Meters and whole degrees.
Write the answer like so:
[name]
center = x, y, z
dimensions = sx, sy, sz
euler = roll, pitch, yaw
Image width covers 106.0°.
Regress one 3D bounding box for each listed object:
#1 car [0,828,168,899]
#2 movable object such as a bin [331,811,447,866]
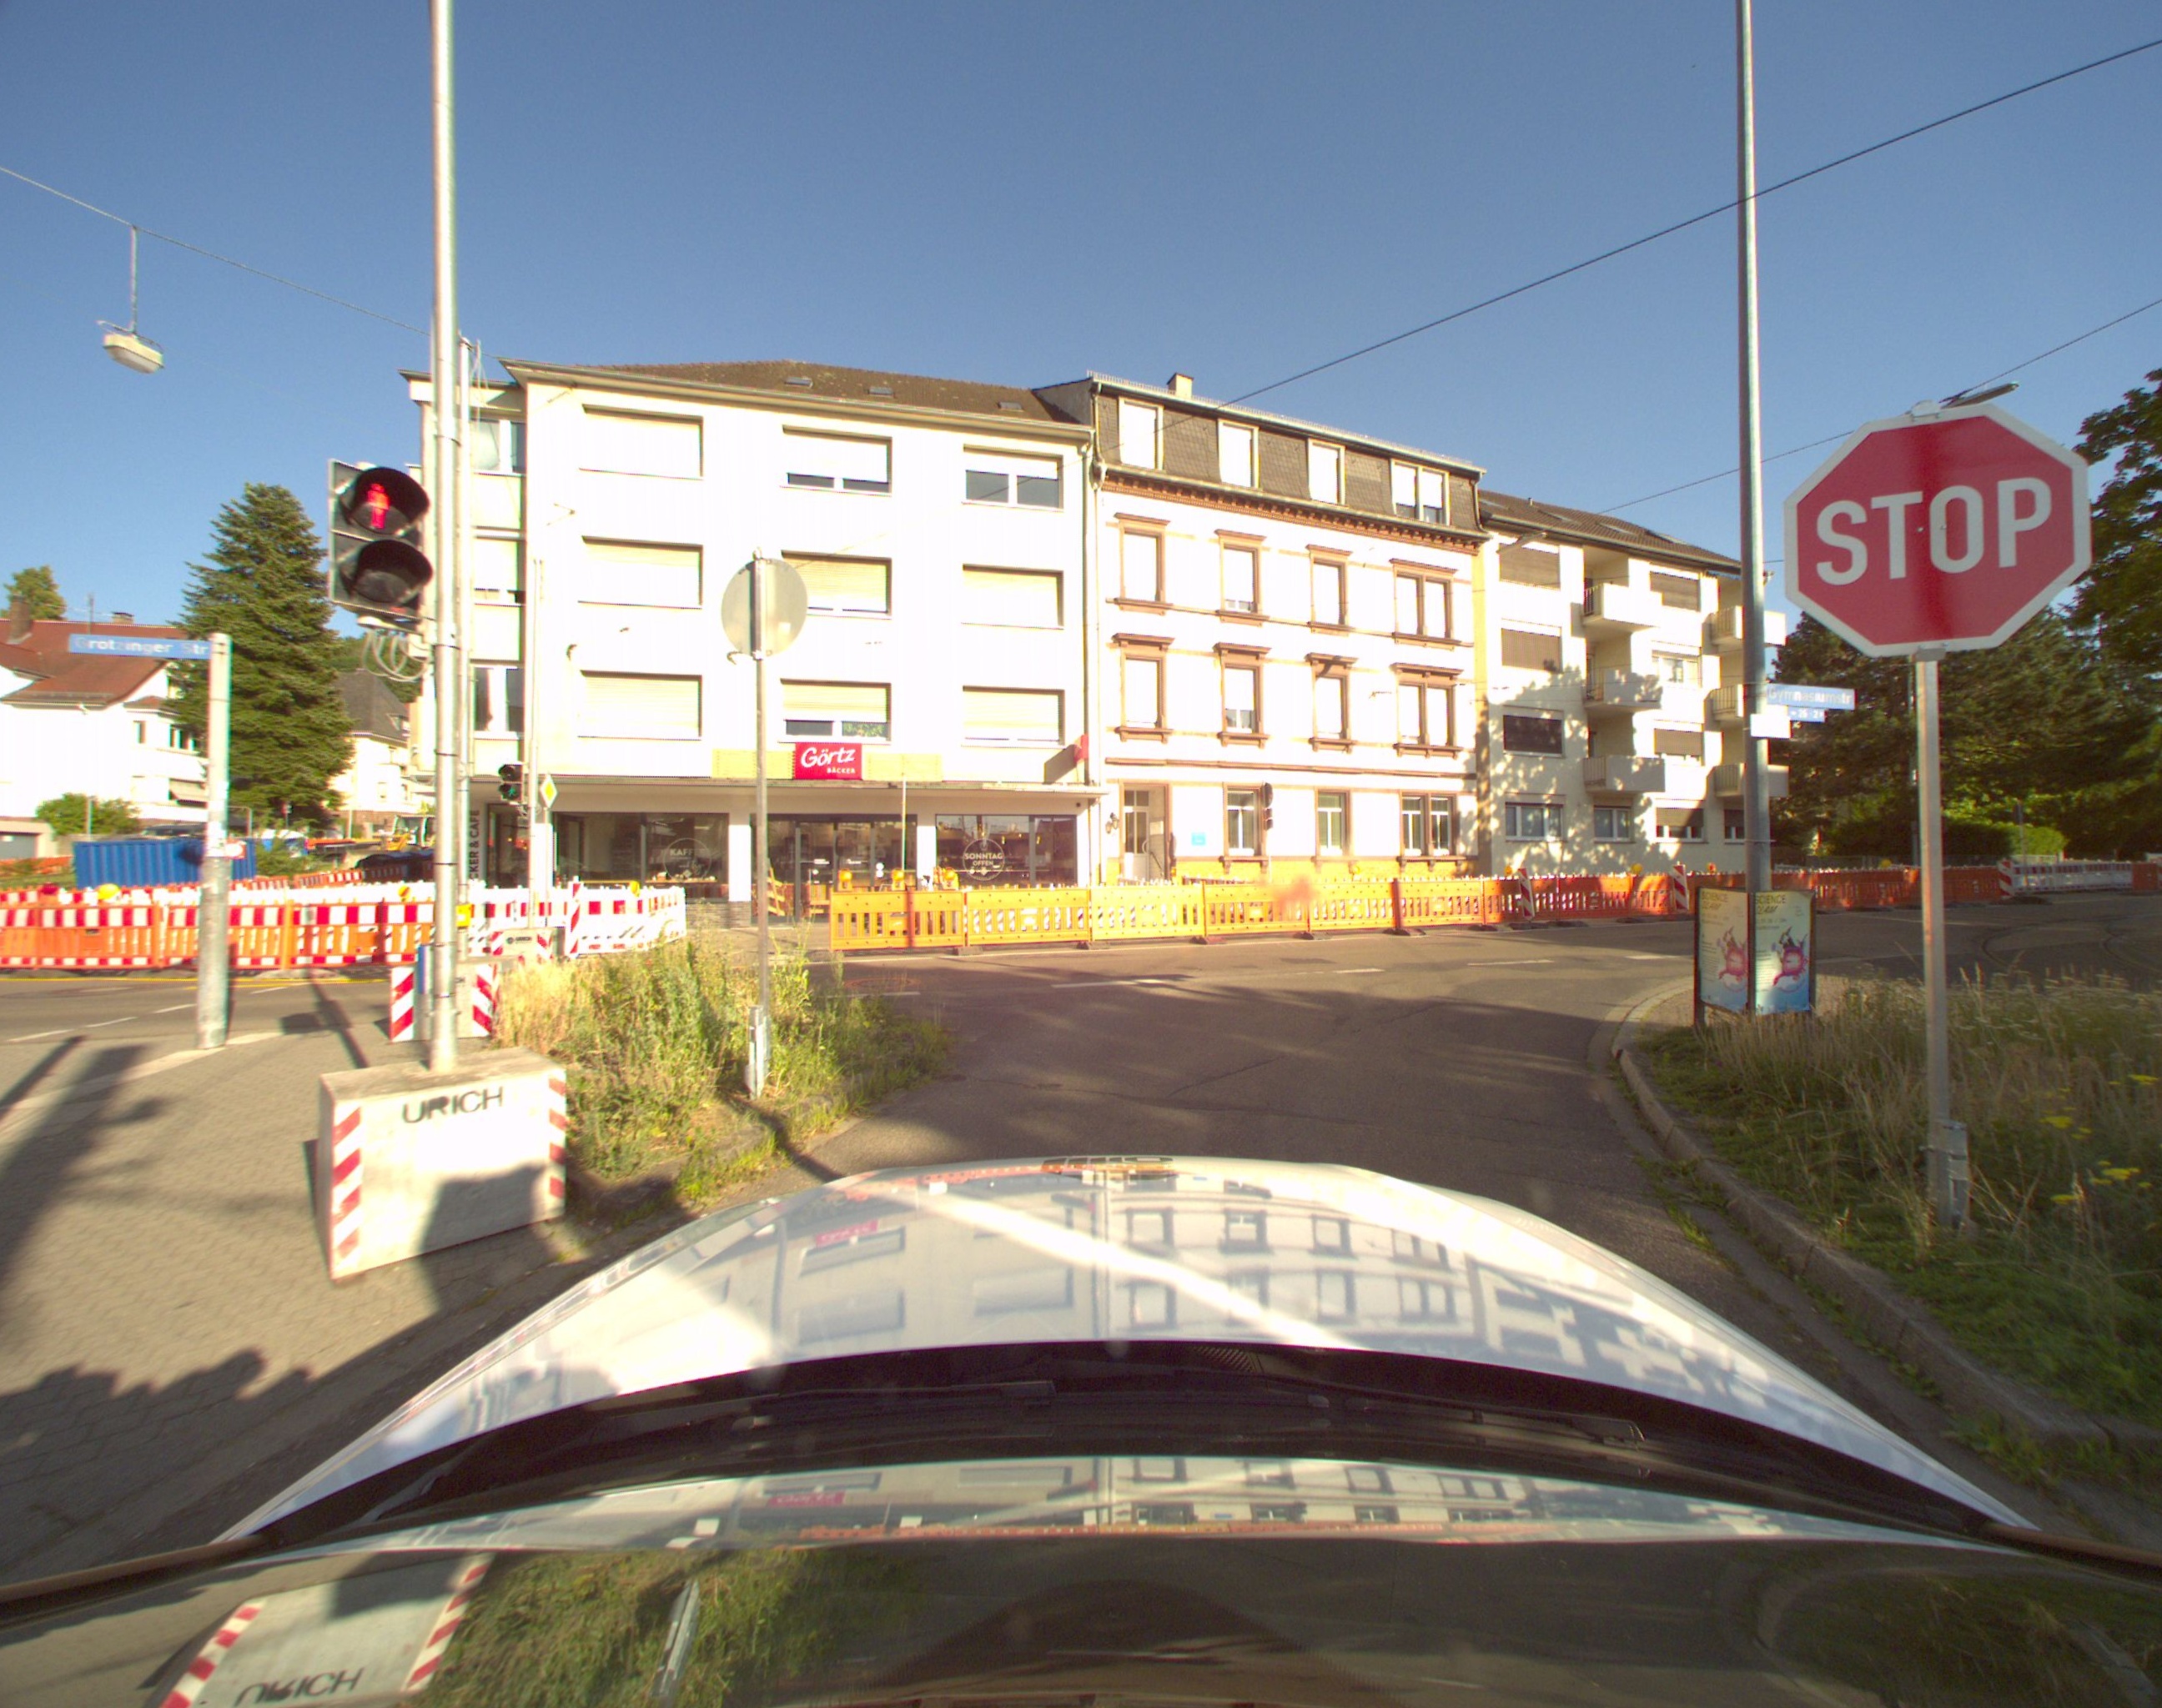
[car]
center = -33.677, 0.343, 25.911
dimensions = 2.579, 2.121, 6.140
euler = -1, -1, -5
[movable object such as a bin]
center = -33.622, -0.698, 39.753
dimensions = 1.945, 2.494, 4.544
euler = -1, -1, -4
